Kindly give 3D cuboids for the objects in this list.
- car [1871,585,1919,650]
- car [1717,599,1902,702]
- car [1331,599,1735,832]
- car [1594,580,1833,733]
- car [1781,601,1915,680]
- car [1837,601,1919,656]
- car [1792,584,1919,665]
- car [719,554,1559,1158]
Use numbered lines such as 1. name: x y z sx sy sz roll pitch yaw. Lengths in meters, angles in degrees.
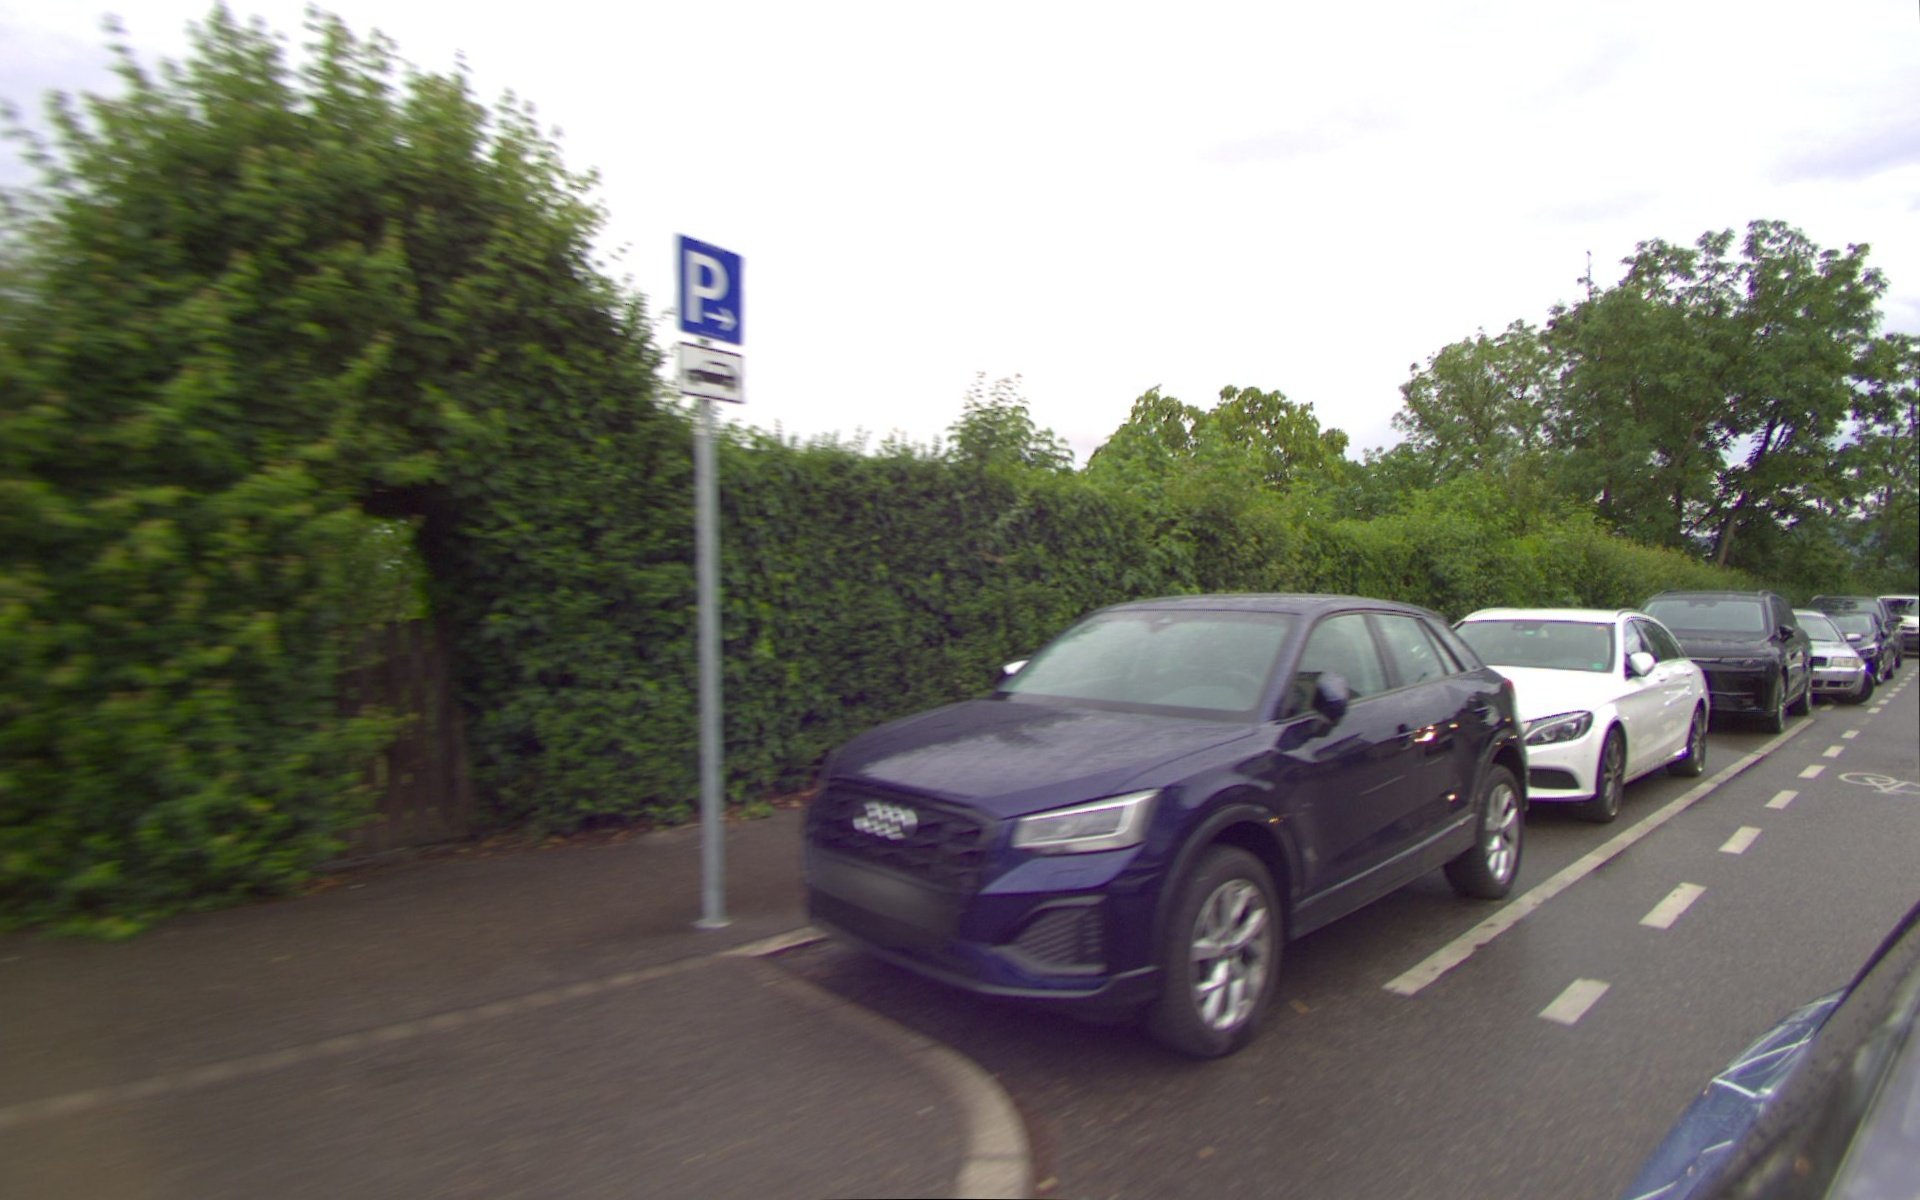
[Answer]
1. car: 31.375 0.591 32.723 4.717 1.972 1.866 1 2 -36
2. car: 14.047 0.739 17.002 1.792 1.458 4.587 1 0 33
3. car: 4.947 0.725 8.403 4.531 1.423 1.714 1 -1 -44
4. car: 10.090 0.636 13.416 4.473 1.684 1.888 1 -1 -45
5. car: 18.730 0.781 21.287 3.915 1.440 1.691 0 1 -42
6. car: 26.595 0.779 29.190 3.681 1.431 1.672 1 1 -45
7. car: 22.417 0.578 25.160 4.815 1.805 2.029 1 0 -43
8. car: 1.160 0.651 4.685 4.136 1.549 1.755 0 0 -44
